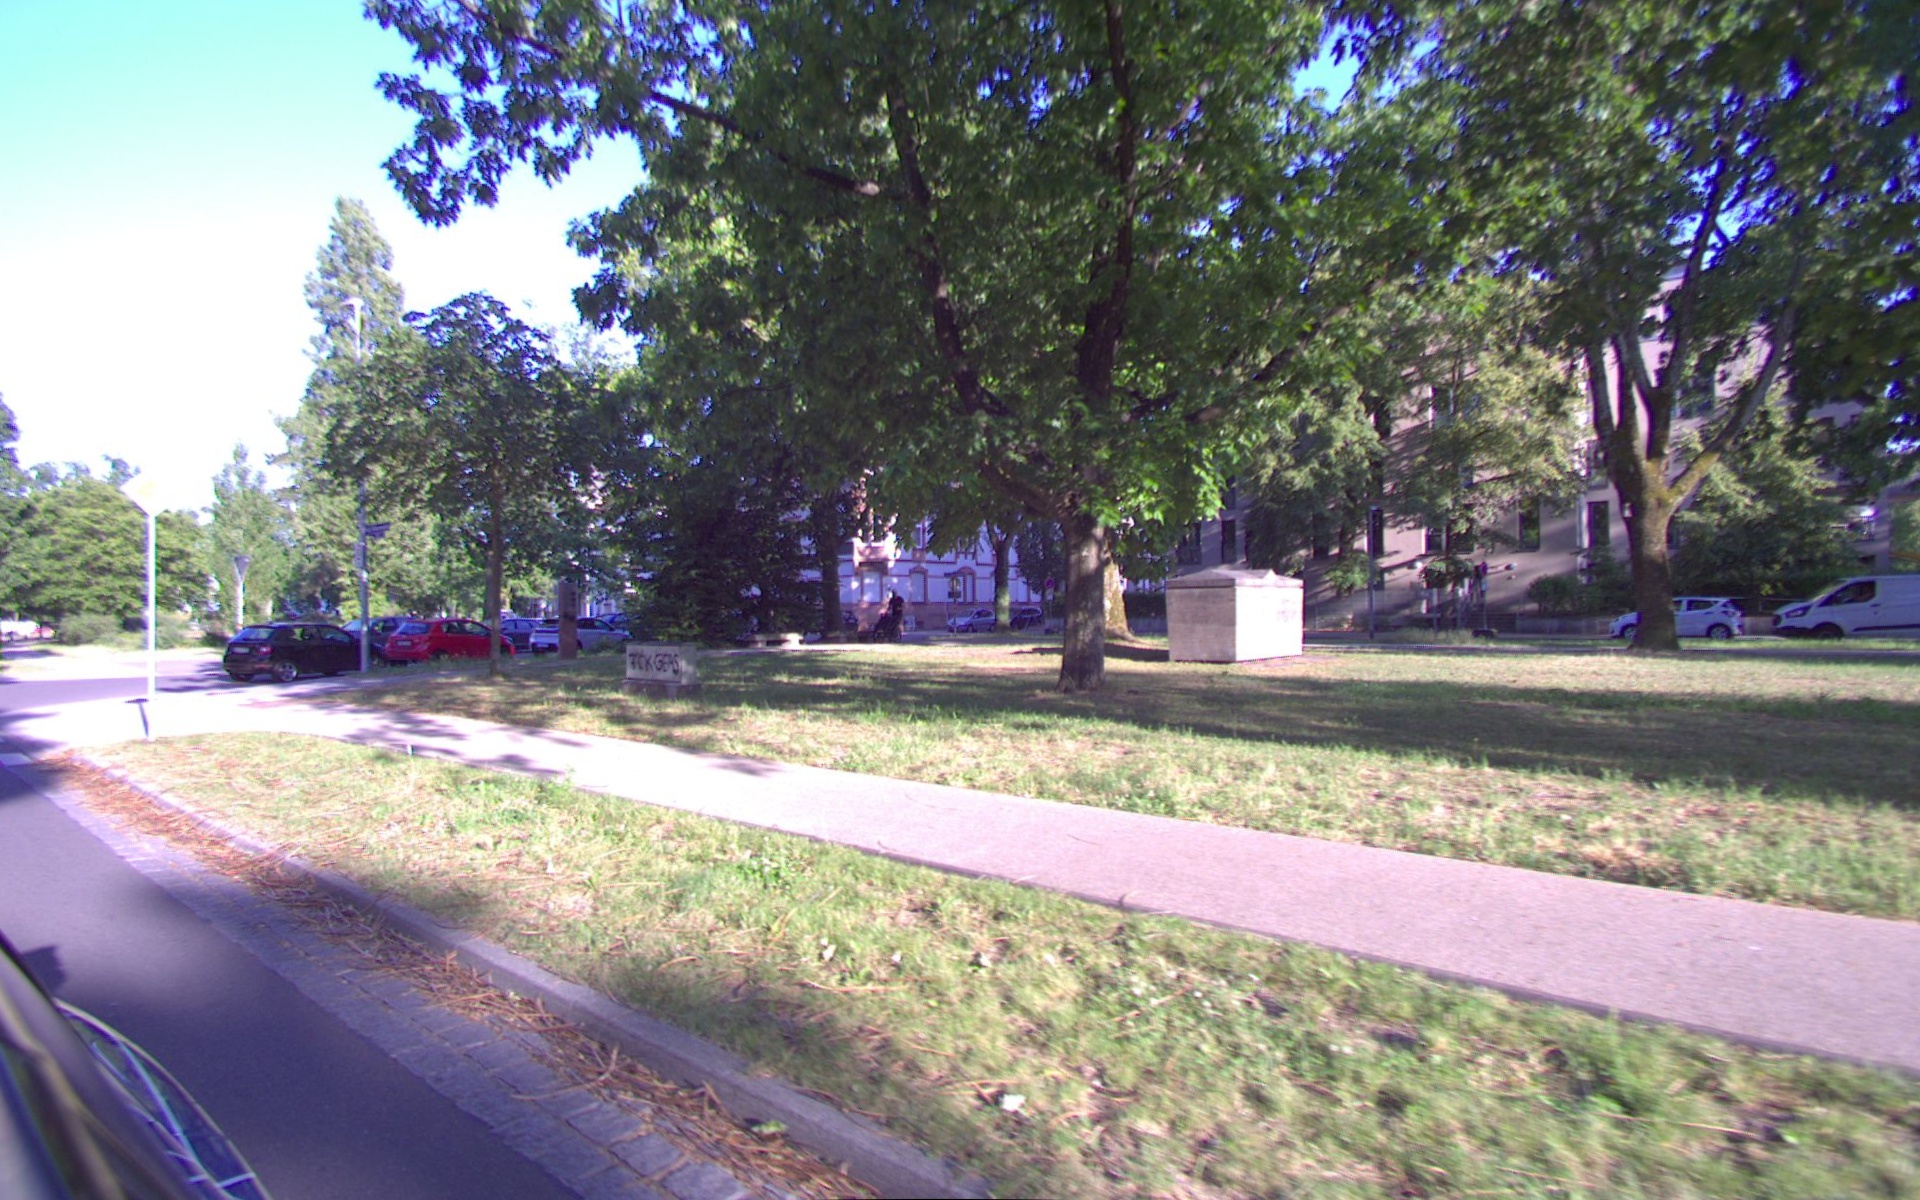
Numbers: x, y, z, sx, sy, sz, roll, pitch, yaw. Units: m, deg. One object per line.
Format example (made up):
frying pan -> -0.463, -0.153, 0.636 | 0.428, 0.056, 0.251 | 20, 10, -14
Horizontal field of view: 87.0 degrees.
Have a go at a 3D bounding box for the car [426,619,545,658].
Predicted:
car -> -18.483, 1.467, 39.619 | 1.825, 1.411, 4.250 | -1, -1, 19

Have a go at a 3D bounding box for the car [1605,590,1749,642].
car -> 23.916, 0.528, 33.820 | 3.736, 1.630, 1.973 | -2, -1, 41

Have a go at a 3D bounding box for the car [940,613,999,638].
car -> 0.688, 1.670, 68.561 | 1.890, 1.586, 3.946 | 0, 0, 41

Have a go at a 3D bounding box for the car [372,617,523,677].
car -> -15.342, 1.355, 30.539 | 1.874, 1.586, 3.979 | 0, 0, 16

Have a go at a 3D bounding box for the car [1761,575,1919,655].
car -> 25.919, 0.407, 28.313 | 4.943, 2.130, 2.654 | -2, -1, 27

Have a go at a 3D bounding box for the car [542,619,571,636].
car -> -41.270, 2.783, 103.459 | 1.859, 1.586, 4.612 | 0, 0, -33

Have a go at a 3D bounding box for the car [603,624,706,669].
car -> -11.969, 1.780, 39.955 | 1.877, 1.586, 3.972 | 0, 0, 21

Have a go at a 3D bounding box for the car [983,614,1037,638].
car -> 3.602, 1.830, 72.851 | 1.890, 1.586, 3.946 | 0, 0, 40

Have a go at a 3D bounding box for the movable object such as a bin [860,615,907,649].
movable object such as a bin -> -2.359, 0.976, 31.249 | 0.943, 0.997, 1.323 | -1, -1, 22

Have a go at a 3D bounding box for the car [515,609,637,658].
car -> -13.464, 1.136, 35.720 | 1.877, 1.586, 3.973 | 0, 0, 20

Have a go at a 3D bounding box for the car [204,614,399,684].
car -> -16.868, 1.186, 26.166 | 1.874, 1.586, 3.979 | 0, 0, 16

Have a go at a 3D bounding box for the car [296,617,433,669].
car -> -20.213, 1.426, 34.504 | 1.824, 1.643, 3.825 | -1, -1, 17

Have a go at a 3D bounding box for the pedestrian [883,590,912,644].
pedestrian -> -1.982, 0.538, 32.203 | 0.668, 1.708, 0.659 | -2, -1, 23
